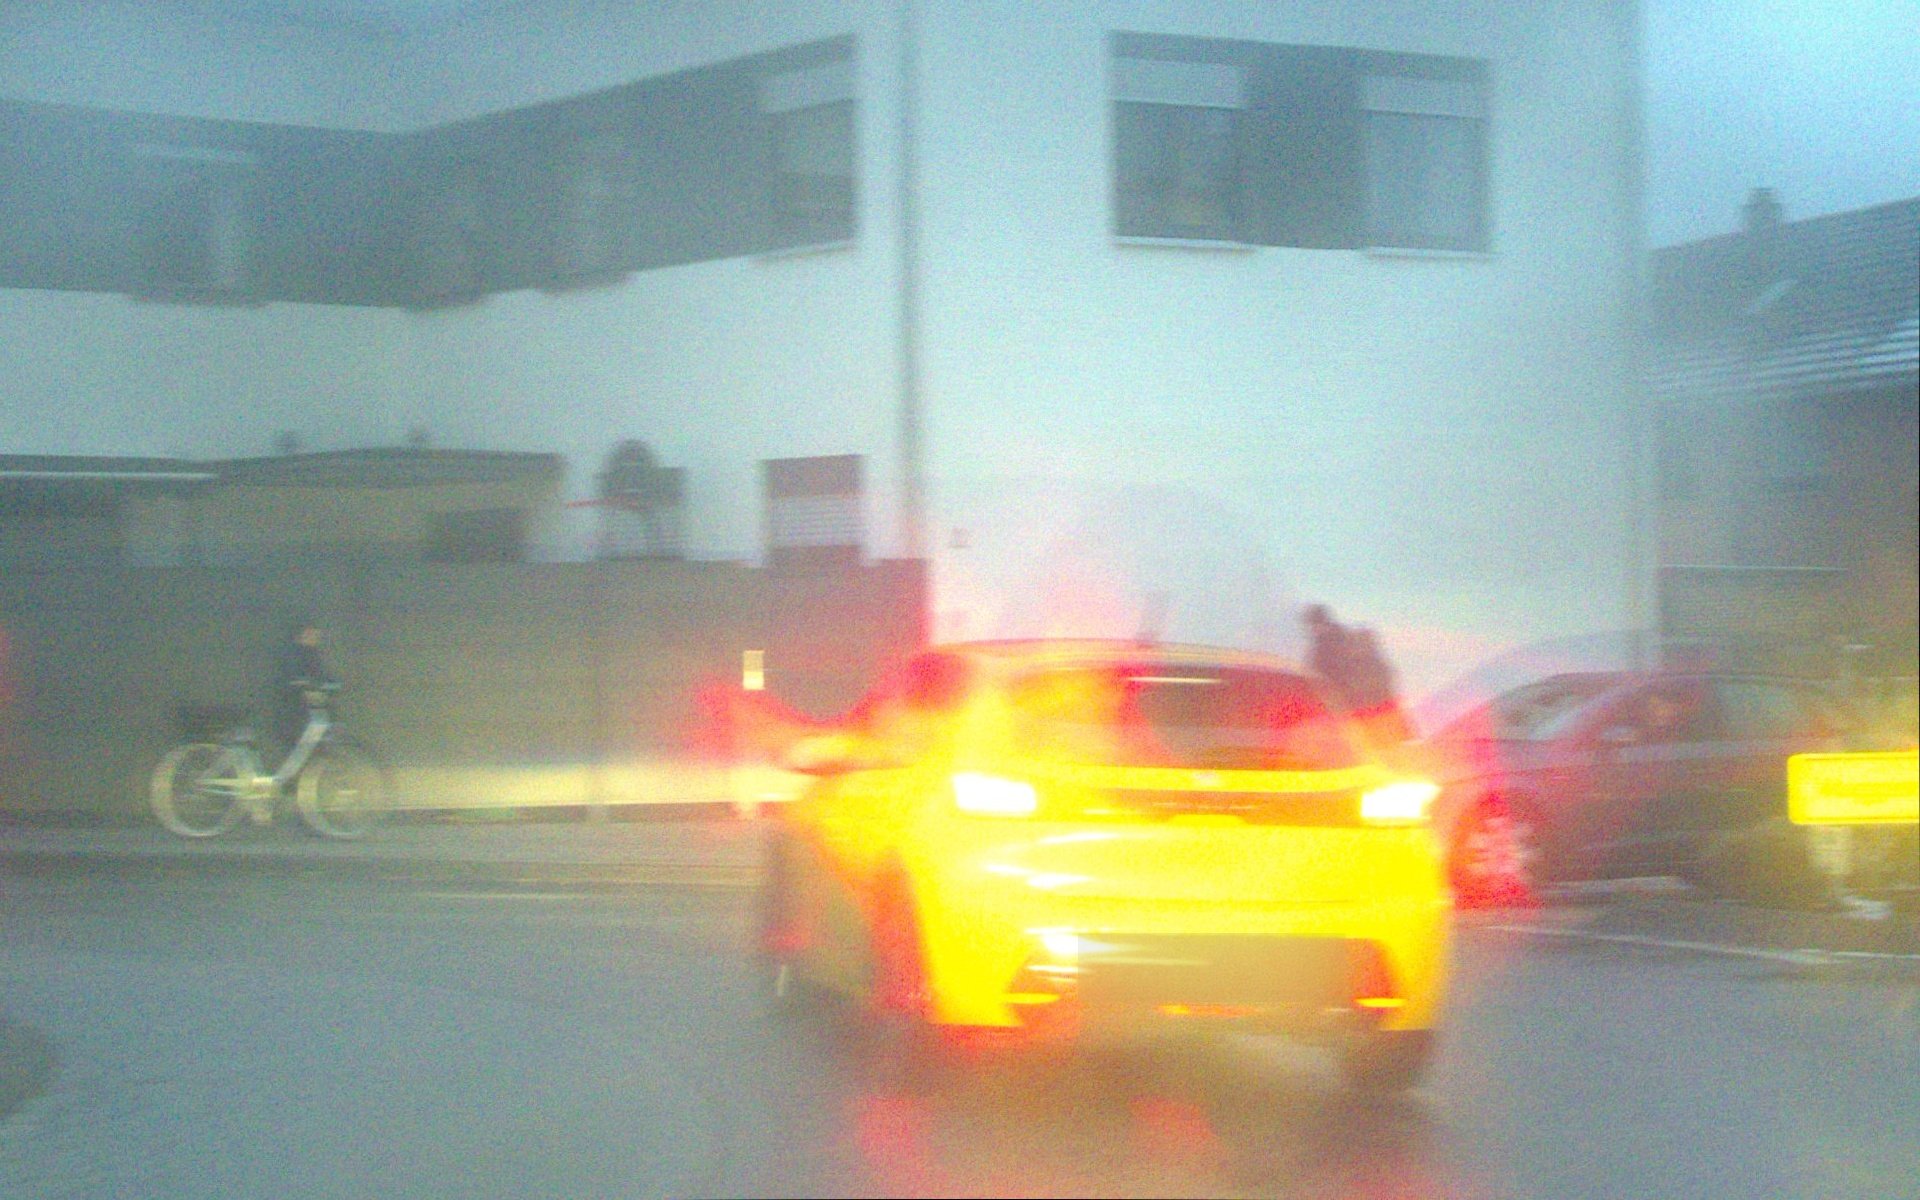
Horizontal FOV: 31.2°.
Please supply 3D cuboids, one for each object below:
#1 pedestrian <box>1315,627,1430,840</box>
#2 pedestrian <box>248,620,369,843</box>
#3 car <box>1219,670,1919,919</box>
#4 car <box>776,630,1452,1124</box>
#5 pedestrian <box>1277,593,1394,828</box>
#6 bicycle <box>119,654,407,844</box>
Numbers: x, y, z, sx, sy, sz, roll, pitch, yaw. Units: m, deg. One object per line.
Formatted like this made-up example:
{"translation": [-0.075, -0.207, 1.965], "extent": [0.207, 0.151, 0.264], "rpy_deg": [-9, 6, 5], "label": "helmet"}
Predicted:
{"translation": [3.176, 1.020, 26.497], "extent": [0.715, 1.616, 0.582], "rpy_deg": [0, 0, -15], "label": "pedestrian"}
{"translation": [-4.662, 0.931, 24.630], "extent": [0.689, 1.559, 0.610], "rpy_deg": [0, 0, 9], "label": "pedestrian"}
{"translation": [3.896, 1.148, 20.923], "extent": [4.220, 1.379, 1.851], "rpy_deg": [0, -3, -21], "label": "car"}
{"translation": [0.351, 0.831, 11.983], "extent": [1.709, 1.417, 4.013], "rpy_deg": [1, -1, -7], "label": "car"}
{"translation": [2.973, 0.863, 27.259], "extent": [0.715, 1.825, 0.637], "rpy_deg": [0, 1, -15], "label": "pedestrian"}
{"translation": [-4.950, 1.049, 24.437], "extent": [1.937, 1.291, 0.551], "rpy_deg": [0, 1, 10], "label": "bicycle"}
